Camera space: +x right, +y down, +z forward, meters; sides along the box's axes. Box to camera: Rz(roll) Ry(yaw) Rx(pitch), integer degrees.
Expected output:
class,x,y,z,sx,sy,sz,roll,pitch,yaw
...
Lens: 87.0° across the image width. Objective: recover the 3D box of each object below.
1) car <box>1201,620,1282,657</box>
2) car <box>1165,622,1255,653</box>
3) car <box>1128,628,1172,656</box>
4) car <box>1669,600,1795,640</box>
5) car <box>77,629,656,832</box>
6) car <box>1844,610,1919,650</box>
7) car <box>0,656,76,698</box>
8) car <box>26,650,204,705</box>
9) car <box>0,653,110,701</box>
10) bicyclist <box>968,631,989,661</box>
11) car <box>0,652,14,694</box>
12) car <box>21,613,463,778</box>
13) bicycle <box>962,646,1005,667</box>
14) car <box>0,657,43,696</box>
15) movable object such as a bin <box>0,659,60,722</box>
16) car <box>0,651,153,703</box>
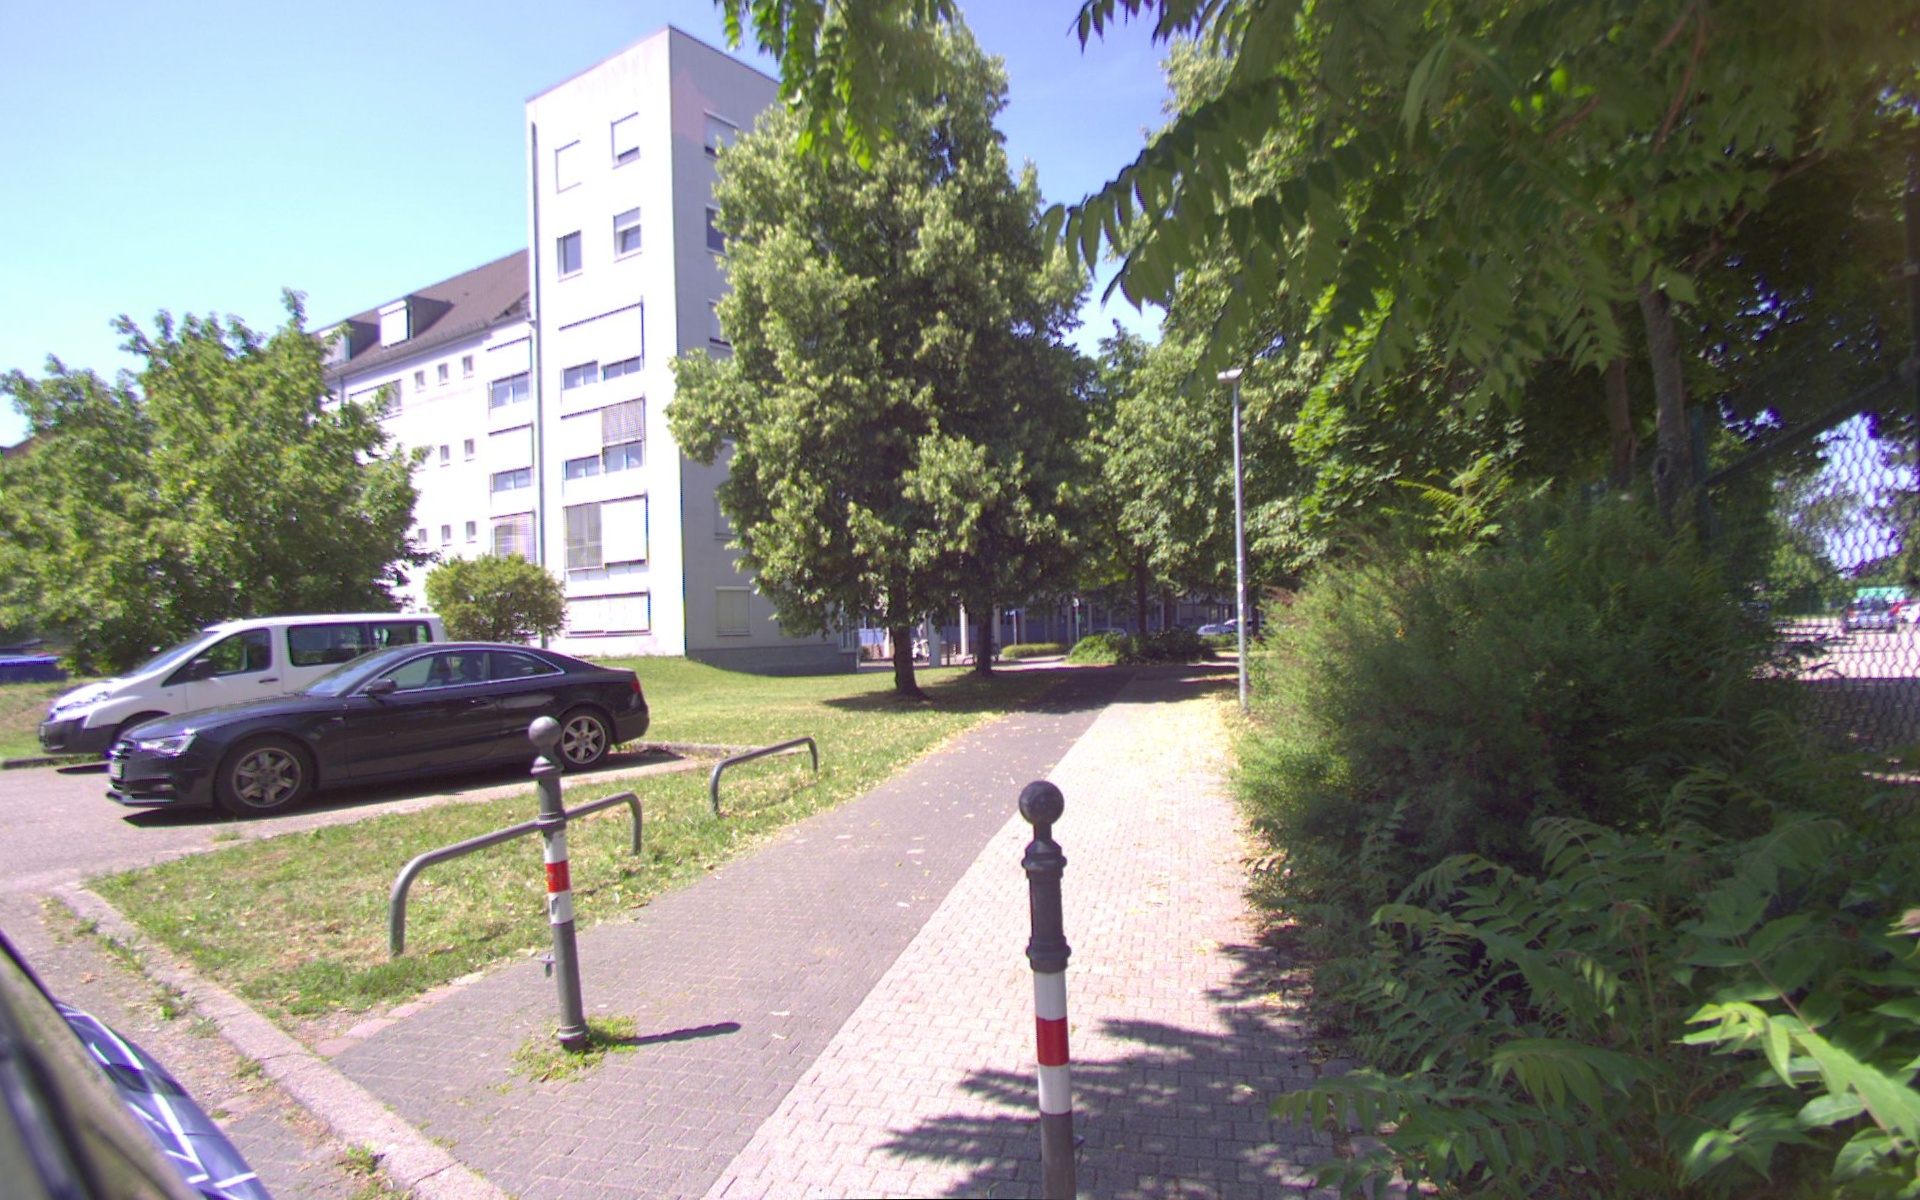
class,x,y,z,sx,sy,sz,roll,pitch,yaw
car,16.166,2.228,58.236,3.994,2.029,1.975,-2,-2,38
car,13.677,2.076,55.459,4.335,1.622,1.909,-2,-2,38
car,11.906,2.624,63.114,1.798,1.615,3.862,-2,-2,24
car,28.812,0.762,37.907,3.619,1.425,1.372,-2,-2,35
car,-5.423,1.066,9.697,2.023,1.390,4.382,-6,-4,42
car,40.134,1.283,44.129,1.806,1.668,3.880,-2,-2,34
car,-39.153,3.189,41.446,1.609,1.581,4.176,-2,-2,34
car,-28.618,2.571,34.424,1.609,1.581,4.395,-2,-2,34
car,-34.118,2.806,37.178,1.609,1.581,4.176,-2,-2,34
bicyclist,0.674,1.667,36.851,0.518,1.053,0.515,-7,-5,42
car,-44.512,3.281,44.356,2.005,1.837,4.176,-2,-2,34
car,-9.975,1.178,14.392,2.067,1.898,4.796,-3,-2,42
bicycle,0.867,2.060,37.041,0.734,0.646,1.594,-6,-4,40
car,-41.874,3.311,42.941,1.609,1.581,4.176,-2,-2,34
movable object such as a bin,-22.163,2.110,23.882,1.094,1.399,1.255,-3,-2,40
car,-31.180,2.661,35.560,1.609,1.581,4.176,-2,-2,34
